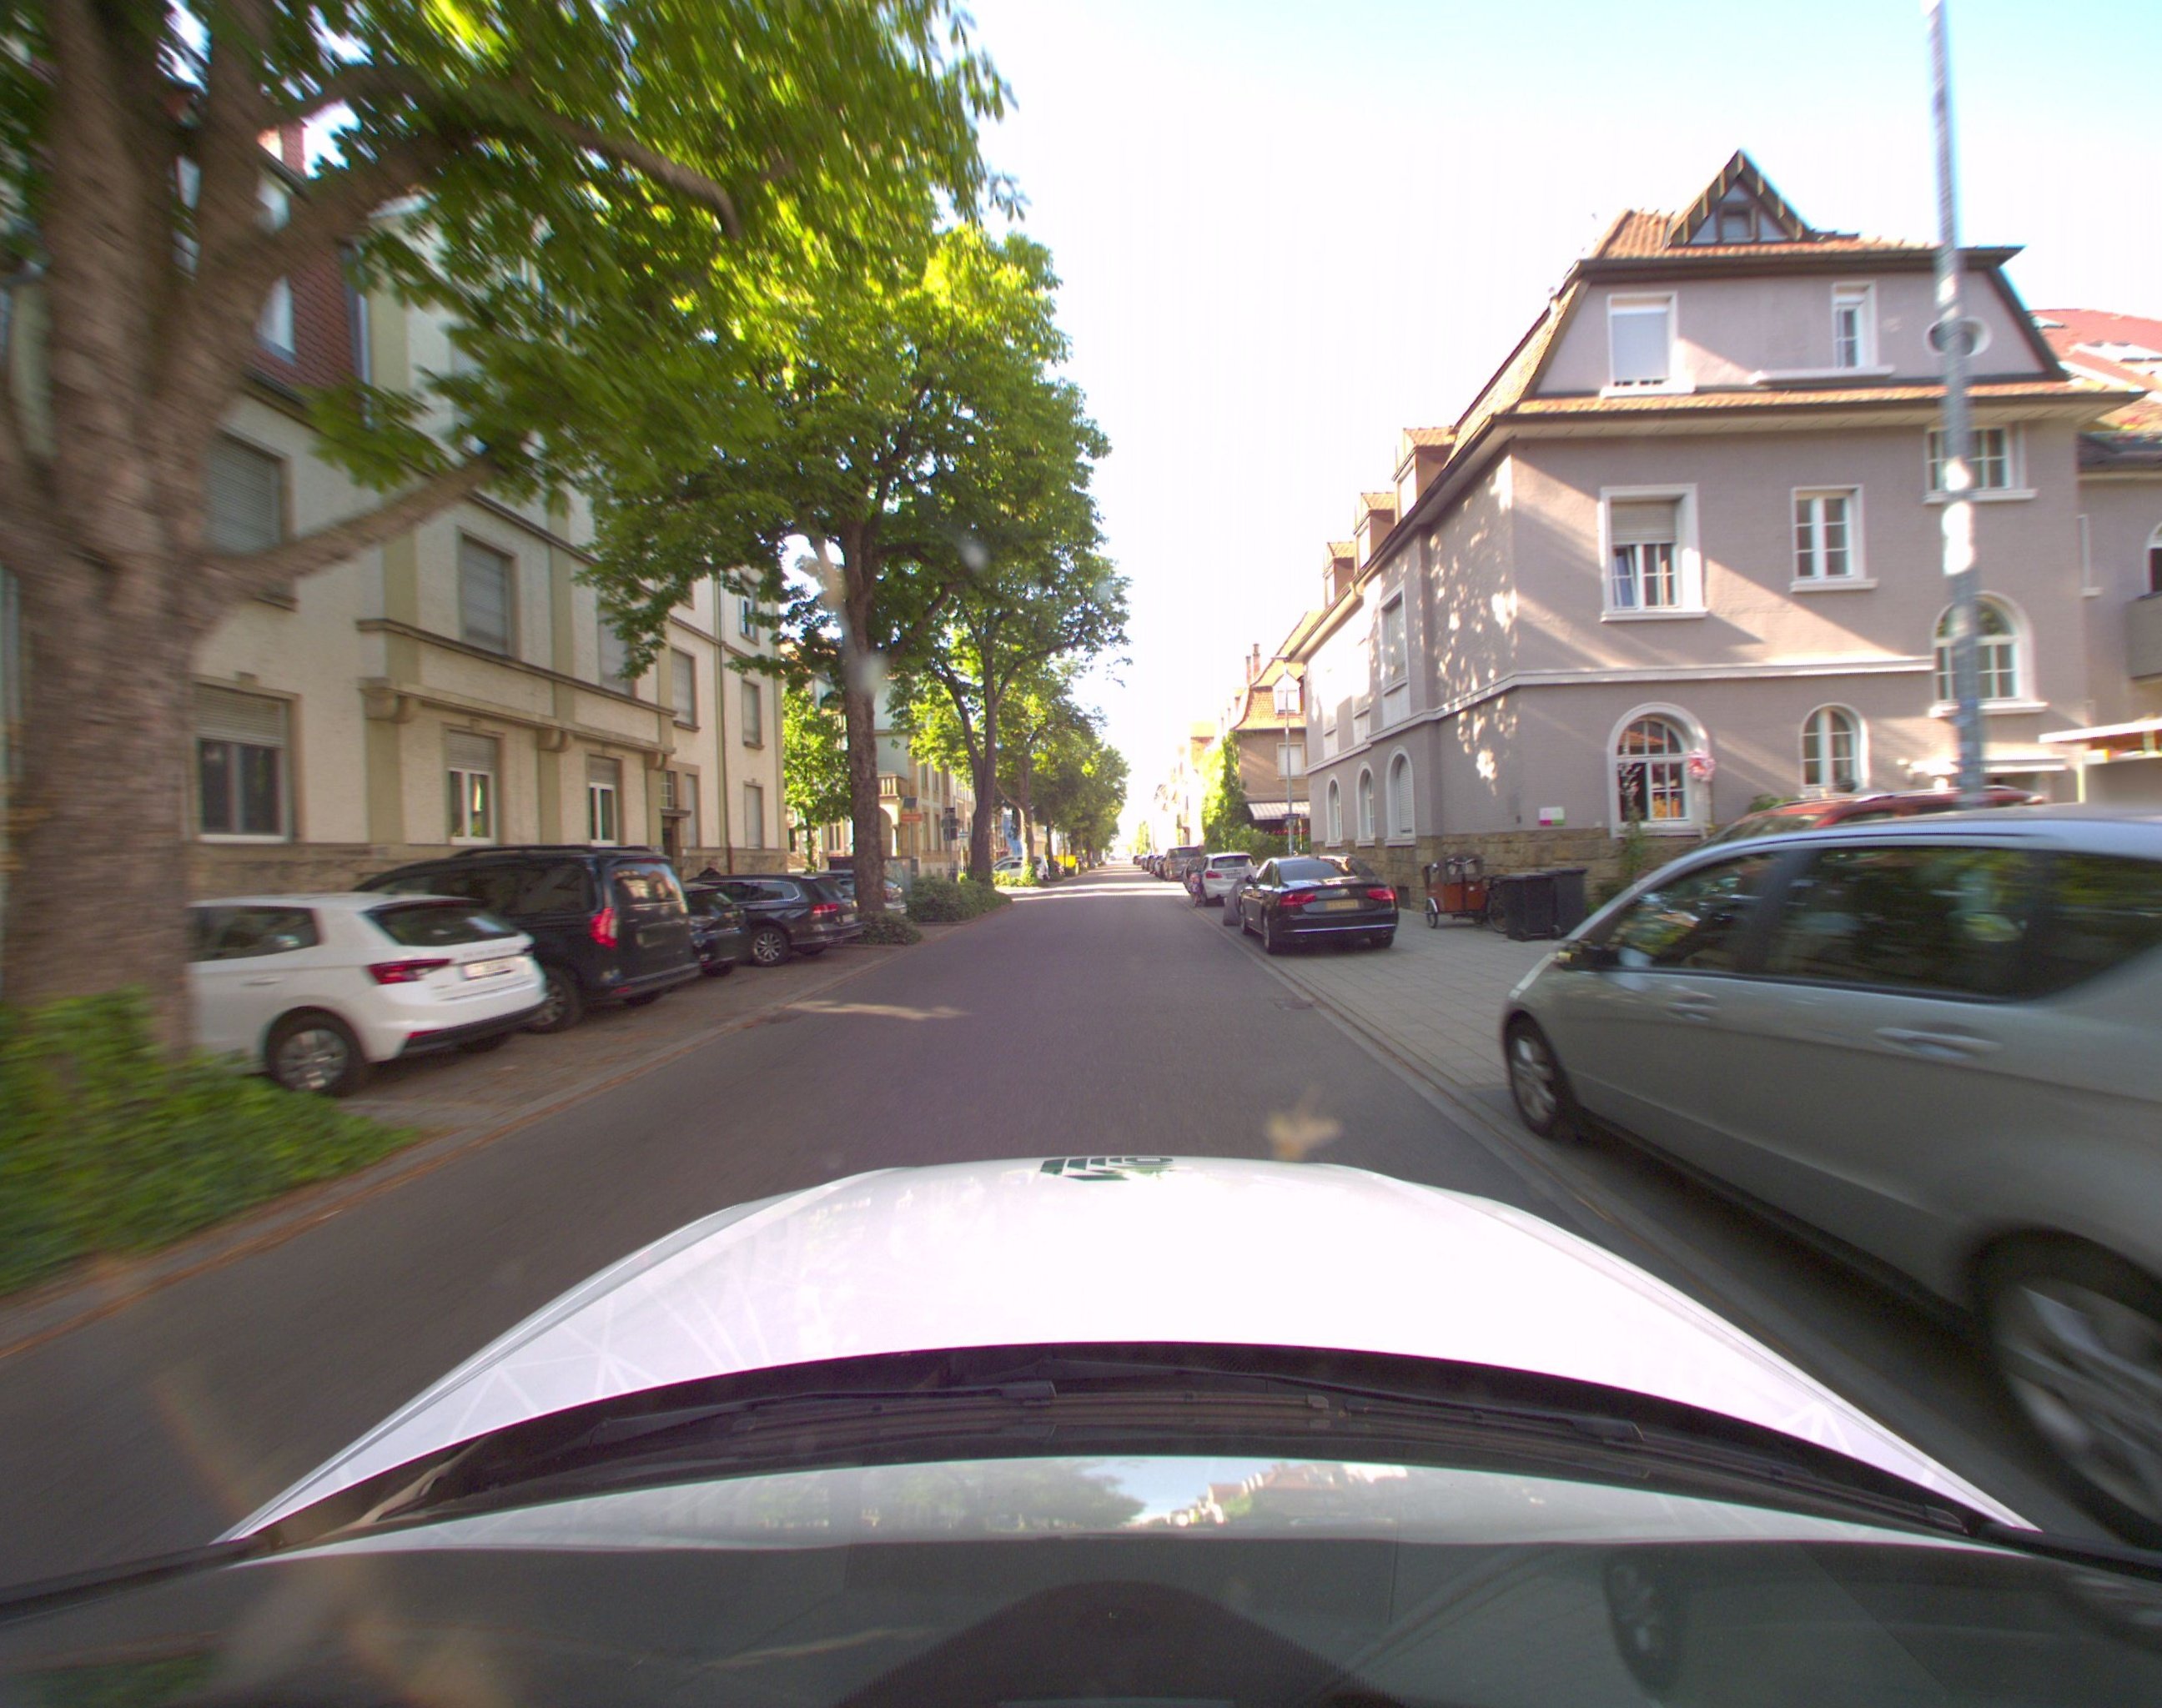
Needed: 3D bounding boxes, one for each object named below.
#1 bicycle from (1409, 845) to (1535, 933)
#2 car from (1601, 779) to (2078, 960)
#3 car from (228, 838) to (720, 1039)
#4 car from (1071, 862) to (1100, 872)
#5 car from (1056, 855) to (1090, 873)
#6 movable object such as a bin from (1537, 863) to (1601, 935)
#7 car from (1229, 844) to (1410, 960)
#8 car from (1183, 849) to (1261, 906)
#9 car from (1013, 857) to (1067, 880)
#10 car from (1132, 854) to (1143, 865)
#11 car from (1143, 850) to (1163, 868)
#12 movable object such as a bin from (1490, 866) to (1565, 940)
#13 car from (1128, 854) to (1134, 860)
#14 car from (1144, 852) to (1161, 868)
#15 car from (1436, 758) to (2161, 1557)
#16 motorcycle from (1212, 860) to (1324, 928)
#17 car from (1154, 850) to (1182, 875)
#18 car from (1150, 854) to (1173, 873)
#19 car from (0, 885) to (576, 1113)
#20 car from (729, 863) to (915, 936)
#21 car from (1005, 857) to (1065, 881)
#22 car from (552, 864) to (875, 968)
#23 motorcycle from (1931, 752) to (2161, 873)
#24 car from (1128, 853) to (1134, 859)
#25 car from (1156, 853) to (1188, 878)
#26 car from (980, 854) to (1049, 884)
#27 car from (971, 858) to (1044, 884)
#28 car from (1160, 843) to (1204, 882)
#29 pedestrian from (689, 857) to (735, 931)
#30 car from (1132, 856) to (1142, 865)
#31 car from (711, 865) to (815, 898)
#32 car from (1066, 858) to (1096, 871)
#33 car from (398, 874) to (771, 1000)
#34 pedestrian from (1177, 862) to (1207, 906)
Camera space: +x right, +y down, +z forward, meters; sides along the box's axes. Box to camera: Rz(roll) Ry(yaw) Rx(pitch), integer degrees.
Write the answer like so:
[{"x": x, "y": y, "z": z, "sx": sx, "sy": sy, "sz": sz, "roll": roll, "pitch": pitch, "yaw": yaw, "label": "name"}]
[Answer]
[{"x": 6.630, "y": 0.557, "z": 13.993, "sx": 1.078, "sy": 1.337, "sz": 2.251, "roll": -3, "pitch": 0, "yaw": 2, "label": "bicycle"}, {"x": 9.119, "y": 0.192, "z": 10.088, "sx": 4.123, "sy": 1.843, "sz": 1.766, "roll": -3, "pitch": -1, "yaw": 2, "label": "car"}, {"x": -6.375, "y": 0.839, "z": 8.906, "sx": 3.965, "sy": 1.855, "sz": 1.829, "roll": -2, "pitch": -1, "yaw": 1, "label": "car"}, {"x": 0.677, "y": 2.003, "z": 125.632, "sx": 3.952, "sy": 1.409, "sz": 1.711, "roll": -2, "pitch": 0, "yaw": 22, "label": "car"}, {"x": -1.008, "y": 1.248, "z": 99.011, "sx": 3.981, "sy": 2.014, "sz": 1.996, "roll": -2, "pitch": -1, "yaw": -6, "label": "car"}, {"x": 7.421, "y": 0.666, "z": 12.401, "sx": 0.566, "sy": 1.039, "sz": 0.618, "roll": -3, "pitch": 0, "yaw": 0, "label": "movable object such as a bin"}, {"x": 3.716, "y": 0.669, "z": 13.585, "sx": 1.846, "sy": 1.493, "sz": 4.612, "roll": -4, "pitch": 0, "yaw": 4, "label": "car"}, {"x": 4.326, "y": 0.685, "z": 25.520, "sx": 1.693, "sy": 1.539, "sz": 4.156, "roll": -4, "pitch": 0, "yaw": 1, "label": "car"}, {"x": -3.139, "y": 1.062, "z": 62.269, "sx": 3.981, "sy": 1.552, "sz": 1.834, "roll": -2, "pitch": 0, "yaw": -6, "label": "car"}, {"x": 9.294, "y": 0.856, "z": 133.679, "sx": 1.763, "sy": 1.631, "sz": 3.870, "roll": -2, "pitch": 0, "yaw": 4, "label": "car"}, {"x": 7.019, "y": 0.464, "z": 79.566, "sx": 1.763, "sy": 1.631, "sz": 3.870, "roll": -2, "pitch": 0, "yaw": 4, "label": "car"}, {"x": 6.748, "y": 0.729, "z": 12.349, "sx": 0.645, "sy": 1.039, "sz": 0.828, "roll": -3, "pitch": 0, "yaw": 0, "label": "movable object such as a bin"}, {"x": 14.304, "y": 0.835, "z": 232.736, "sx": 1.763, "sy": 1.631, "sz": 3.870, "roll": -2, "pitch": 0, "yaw": 4, "label": "car"}, {"x": 8.104, "y": 0.672, "z": 92.098, "sx": 1.763, "sy": 1.631, "sz": 3.870, "roll": -2, "pitch": 0, "yaw": 4, "label": "car"}, {"x": 3.102, "y": 0.558, "z": 3.185, "sx": 1.781, "sy": 1.600, "sz": 4.004, "roll": -5, "pitch": -1, "yaw": 4, "label": "car"}, {"x": 3.990, "y": 0.828, "z": 17.411, "sx": 2.173, "sy": 1.339, "sz": 0.927, "roll": 0, "pitch": 1, "yaw": 25, "label": "motorcycle"}, {"x": 6.088, "y": 0.594, "z": 57.387, "sx": 1.781, "sy": 1.618, "sz": 3.870, "roll": -2, "pitch": 0, "yaw": 4, "label": "car"}, {"x": 6.727, "y": 0.795, "z": 68.651, "sx": 1.763, "sy": 1.455, "sz": 3.870, "roll": -2, "pitch": 0, "yaw": 4, "label": "car"}, {"x": -6.642, "y": 1.058, "z": 6.562, "sx": 3.976, "sy": 1.448, "sz": 1.741, "roll": -2, "pitch": -1, "yaw": -2, "label": "car"}, {"x": -5.863, "y": 1.016, "z": 18.716, "sx": 3.660, "sy": 1.487, "sz": 1.642, "roll": -2, "pitch": -1, "yaw": 2, "label": "car"}, {"x": -3.246, "y": 1.063, "z": 57.606, "sx": 3.969, "sy": 1.469, "sz": 1.866, "roll": -2, "pitch": 0, "yaw": 4, "label": "car"}, {"x": -5.999, "y": 0.987, "z": 13.695, "sx": 4.515, "sy": 1.503, "sz": 1.892, "roll": -2, "pitch": -1, "yaw": 1, "label": "car"}, {"x": 11.919, "y": -0.428, "z": 9.846, "sx": 0.786, "sy": 1.281, "sz": 2.160, "roll": 0, "pitch": -2, "yaw": -10, "label": "motorcycle"}, {"x": 13.879, "y": 0.563, "z": 225.625, "sx": 1.763, "sy": 1.631, "sz": 3.870, "roll": -2, "pitch": 0, "yaw": 4, "label": "car"}, {"x": 5.710, "y": 0.678, "z": 51.393, "sx": 1.684, "sy": 1.398, "sz": 3.808, "roll": -5, "pitch": 0, "yaw": 3, "label": "car"}, {"x": -3.914, "y": 0.877, "z": 48.546, "sx": 3.975, "sy": 1.761, "sz": 1.797, "roll": 0, "pitch": -1, "yaw": -1, "label": "car"}, {"x": -4.136, "y": 0.972, "z": 46.240, "sx": 3.975, "sy": 1.464, "sz": 1.797, "roll": 0, "pitch": -1, "yaw": -1, "label": "car"}, {"x": 5.495, "y": 0.456, "z": 44.853, "sx": 1.897, "sy": 1.870, "sz": 4.676, "roll": -5, "pitch": 0, "yaw": 3, "label": "car"}, {"x": -8.582, "y": 0.919, "z": 18.968, "sx": 0.629, "sy": 1.659, "sz": 0.833, "roll": -2, "pitch": 0, "yaw": 3, "label": "pedestrian"}, {"x": 11.212, "y": 1.282, "z": 162.744, "sx": 1.763, "sy": 1.631, "sz": 3.870, "roll": -2, "pitch": 0, "yaw": 4, "label": "car"}, {"x": -15.761, "y": 1.353, "z": 40.525, "sx": 4.387, "sy": 1.465, "sz": 1.804, "roll": -2, "pitch": -1, "yaw": 3, "label": "car"}, {"x": 0.002, "y": 1.419, "z": 110.601, "sx": 3.987, "sy": 1.735, "sz": 1.897, "roll": 0, "pitch": 1, "yaw": 4, "label": "car"}, {"x": -6.640, "y": 1.079, "z": 11.240, "sx": 3.966, "sy": 1.437, "sz": 1.829, "roll": -2, "pitch": -1, "yaw": 0, "label": "car"}, {"x": 3.369, "y": 0.901, "z": 24.669, "sx": 0.722, "sy": 1.257, "sz": 0.645, "roll": -3, "pitch": 0, "yaw": -5, "label": "pedestrian"}]
